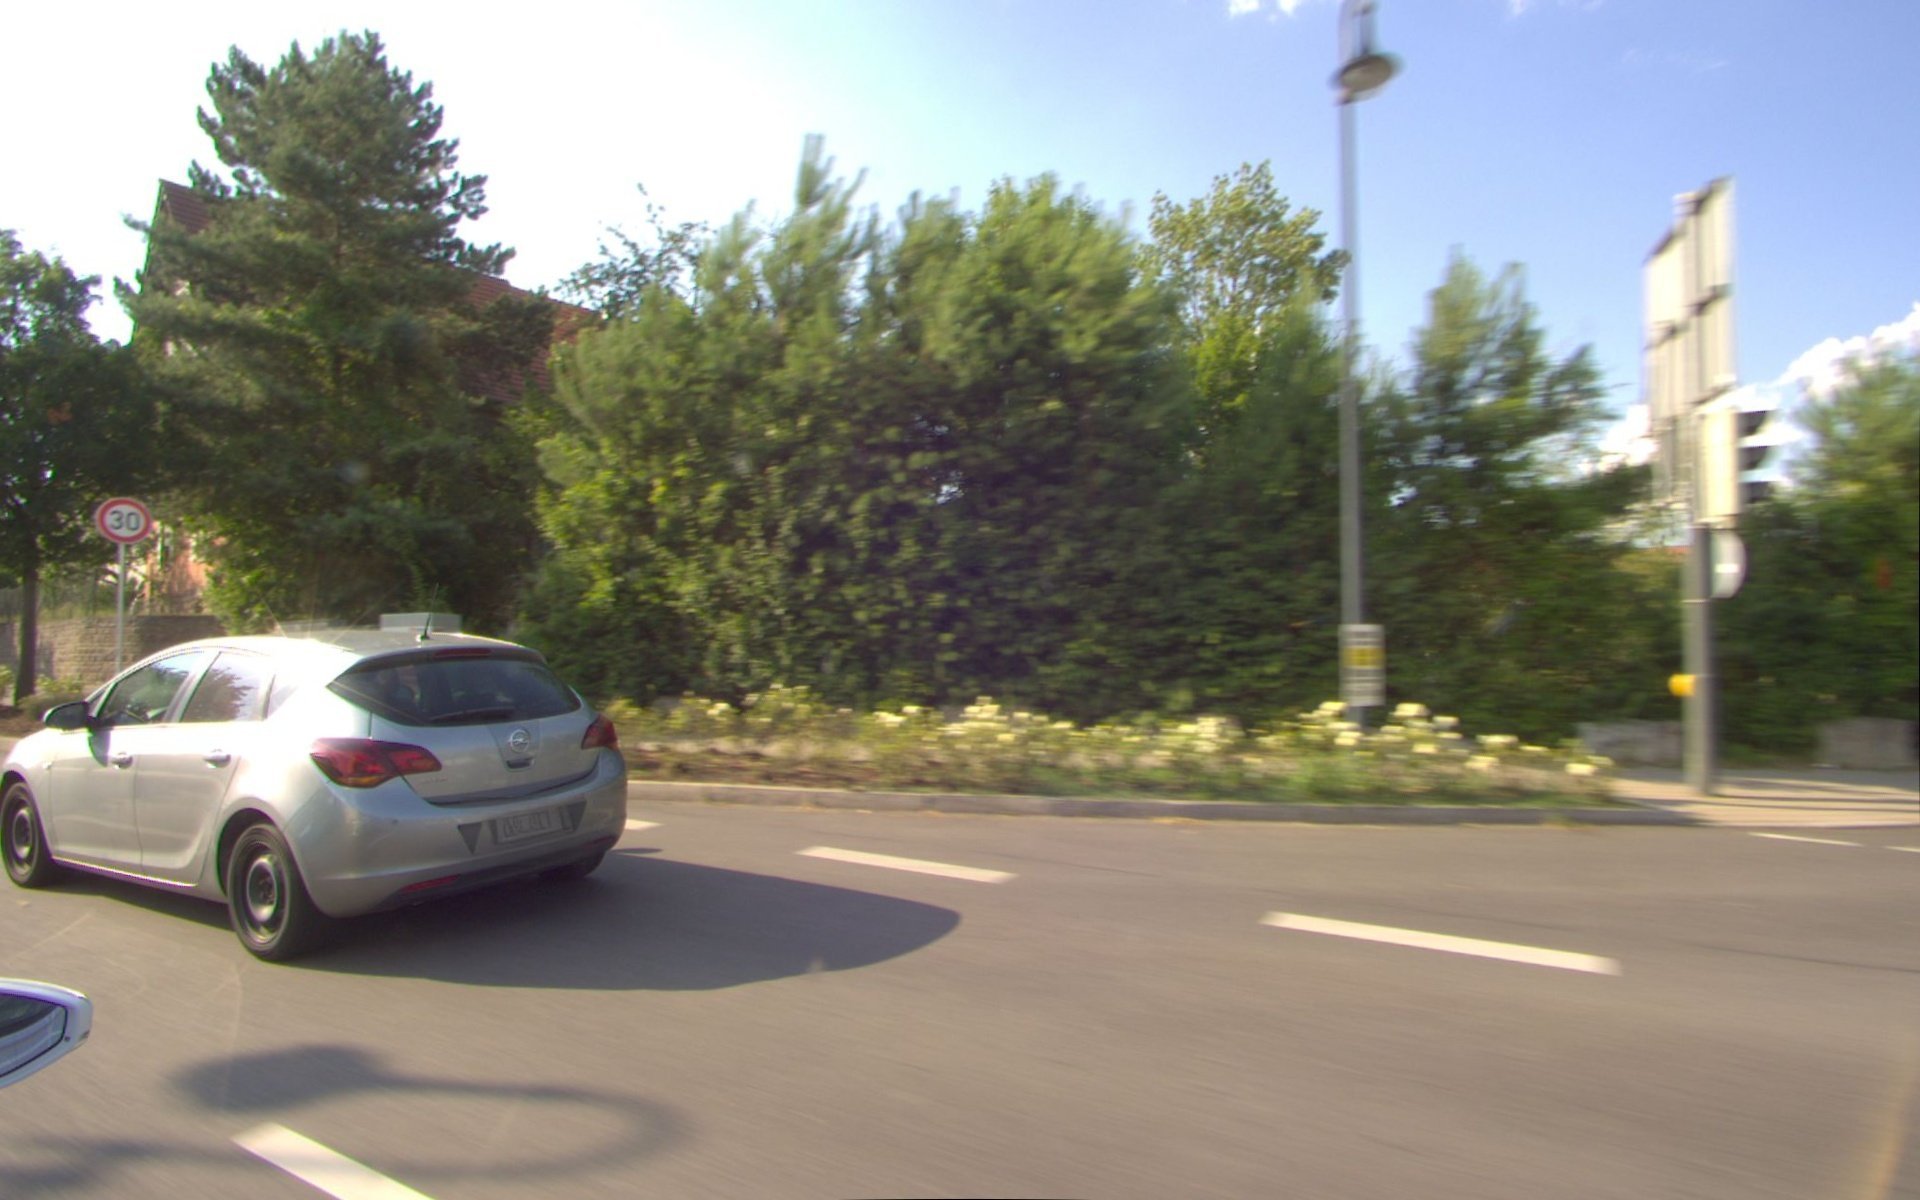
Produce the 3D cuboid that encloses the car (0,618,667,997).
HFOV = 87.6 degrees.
[{"bbox_3d":[-3.868,0.862,5.799,4.241,1.509,1.719,-1,-1,30],"label":"car"}]
